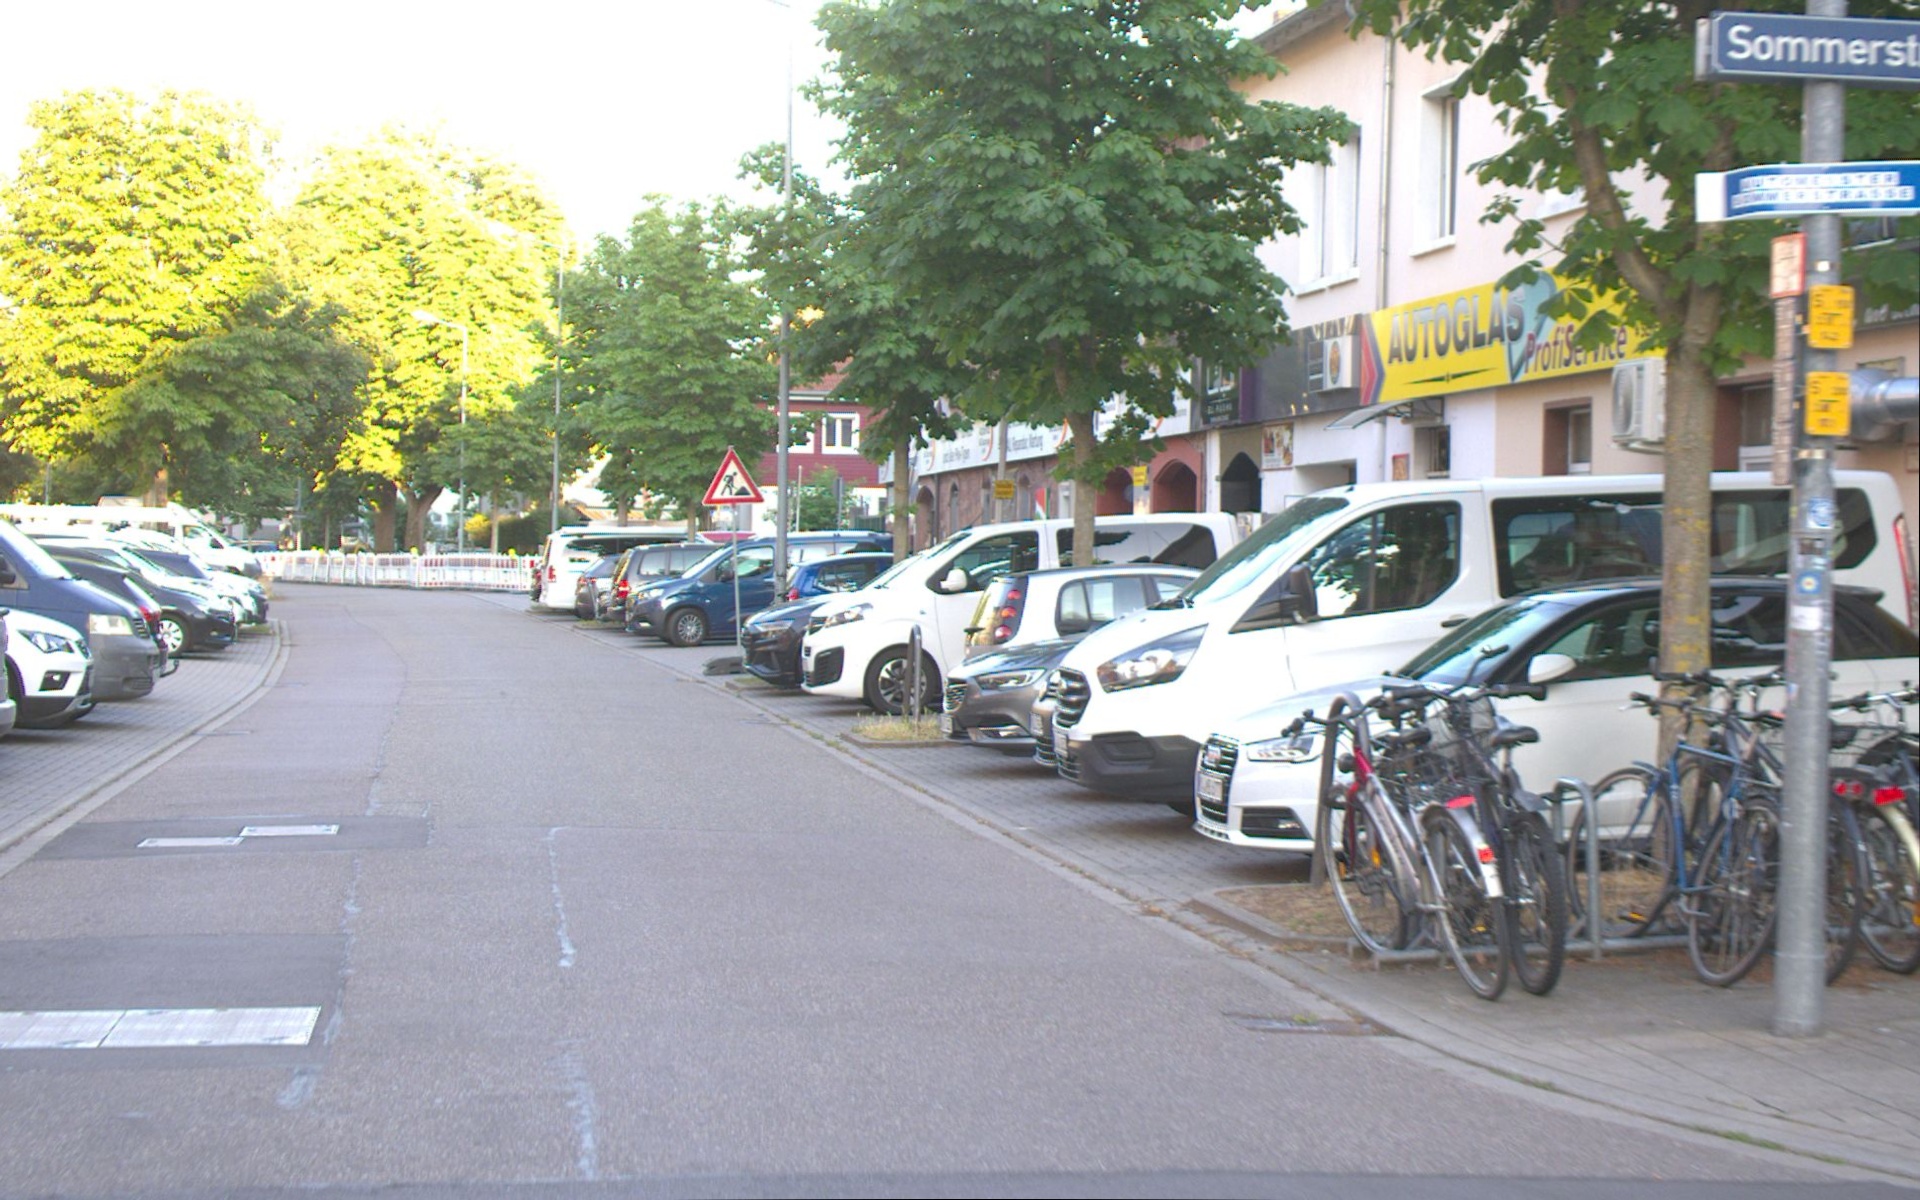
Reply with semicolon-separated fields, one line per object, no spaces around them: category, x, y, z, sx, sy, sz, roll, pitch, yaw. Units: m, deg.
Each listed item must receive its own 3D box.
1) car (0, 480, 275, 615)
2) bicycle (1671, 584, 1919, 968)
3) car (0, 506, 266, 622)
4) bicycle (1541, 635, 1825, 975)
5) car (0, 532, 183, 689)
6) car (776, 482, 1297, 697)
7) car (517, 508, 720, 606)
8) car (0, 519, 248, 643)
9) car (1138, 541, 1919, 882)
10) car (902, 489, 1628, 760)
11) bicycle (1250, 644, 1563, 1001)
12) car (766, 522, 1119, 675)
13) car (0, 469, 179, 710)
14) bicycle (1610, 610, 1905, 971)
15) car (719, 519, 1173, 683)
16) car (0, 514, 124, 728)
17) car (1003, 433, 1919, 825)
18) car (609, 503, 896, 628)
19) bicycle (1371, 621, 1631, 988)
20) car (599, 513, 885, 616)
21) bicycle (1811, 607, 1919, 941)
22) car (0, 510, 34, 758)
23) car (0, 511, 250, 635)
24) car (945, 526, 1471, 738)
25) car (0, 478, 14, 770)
car;-13.957;-0.894;58.058;4.532;2.127;2.001;1;1;-8
bicycle;3.225;0.608;13.011;0.385;1.300;2.018;-1;1;-7
car;-13.452;-0.591;55.468;4.255;1.743;2.001;1;1;-8
bicycle;2.683;0.722;12.948;0.385;1.110;2.018;-1;1;-7
car;-10.091;0.058;34.548;4.255;1.500;2.001;1;1;-8
car;0.730;-0.135;34.946;4.943;1.951;2.050;-2;1;-9
car;-7.196;-0.924;72.266;3.967;1.905;2.050;-2;1;-12
car;-12.201;-0.289;48.055;4.255;1.616;2.001;1;1;-8
car;3.018;0.498;17.146;3.917;1.446;1.769;-2;2;-10
car;2.161;0.141;25.214;4.943;1.736;2.050;-2;1;-7
bicycle;1.593;0.763;12.591;0.438;1.126;2.018;-1;1;-13
car;-0.258;-0.041;44.754;4.315;1.798;1.811;-2;1;-9
car;-9.384;-0.145;29.906;4.849;2.014;1.907;1;1;-8
bicycle;2.967;0.665;12.970;0.385;1.196;2.018;-1;1;-7
car;-0.207;-0.014;39.814;4.943;1.683;2.077;-2;1;-9
car;-8.962;0.103;27.388;4.255;1.646;1.888;1;1;-8
car;2.903;0.118;19.934;4.989;1.976;2.220;-2;1;-7
car;-3.456;-0.586;57.020;4.478;1.905;1.688;-2;1;-12
bicycle;1.982;0.709;12.827;0.385;1.196;2.018;-1;1;-7
car;-3.998;-0.658;62.741;4.943;1.689;1.849;-2;1;-12
bicycle;3.664;0.644;12.909;0.385;1.196;1.482;-1;1;-7
car;-8.546;0.169;23.049;4.255;1.654;2.001;1;1;-8
car;-12.744;-0.420;50.748;4.255;1.709;2.001;1;1;-8
car;1.954;0.224;27.860;3.911;1.521;1.939;-2;1;-7
car;-8.022;0.114;20.621;4.255;1.830;2.001;1;1;-8
